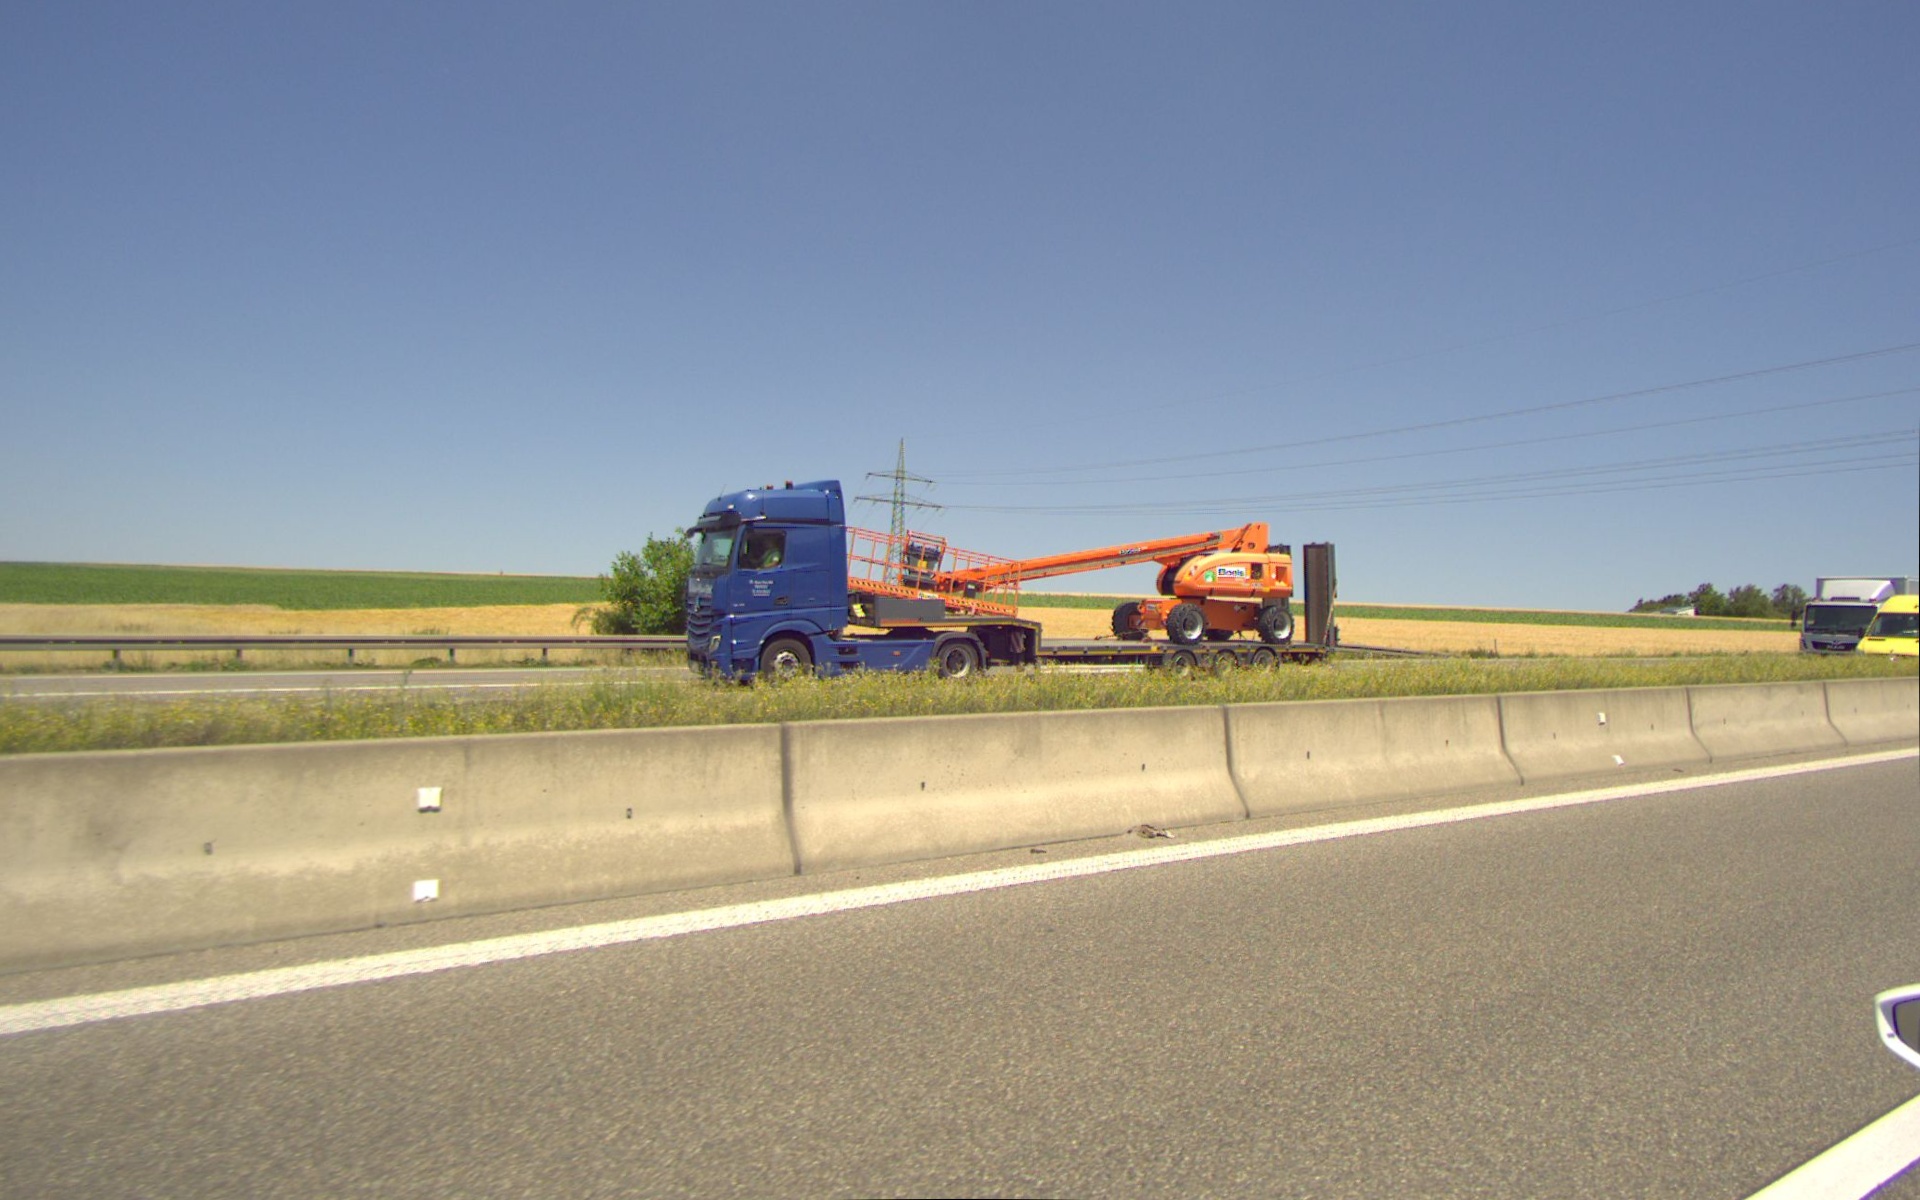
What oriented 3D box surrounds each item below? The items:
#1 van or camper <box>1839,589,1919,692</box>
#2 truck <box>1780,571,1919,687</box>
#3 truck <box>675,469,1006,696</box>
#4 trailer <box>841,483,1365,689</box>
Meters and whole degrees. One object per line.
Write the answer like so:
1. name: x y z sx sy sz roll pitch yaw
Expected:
1. van or camper: 27.801 1.135 28.736 6.064 2.743 2.075 1 0 -29
2. truck: 33.144 1.010 36.260 7.686 3.793 2.922 1 0 -30
3. truck: -2.363 -0.246 20.421 6.067 3.990 2.762 1 0 -31
4. trailer: 4.002 -0.101 24.124 13.565 4.011 2.825 2 0 -30
